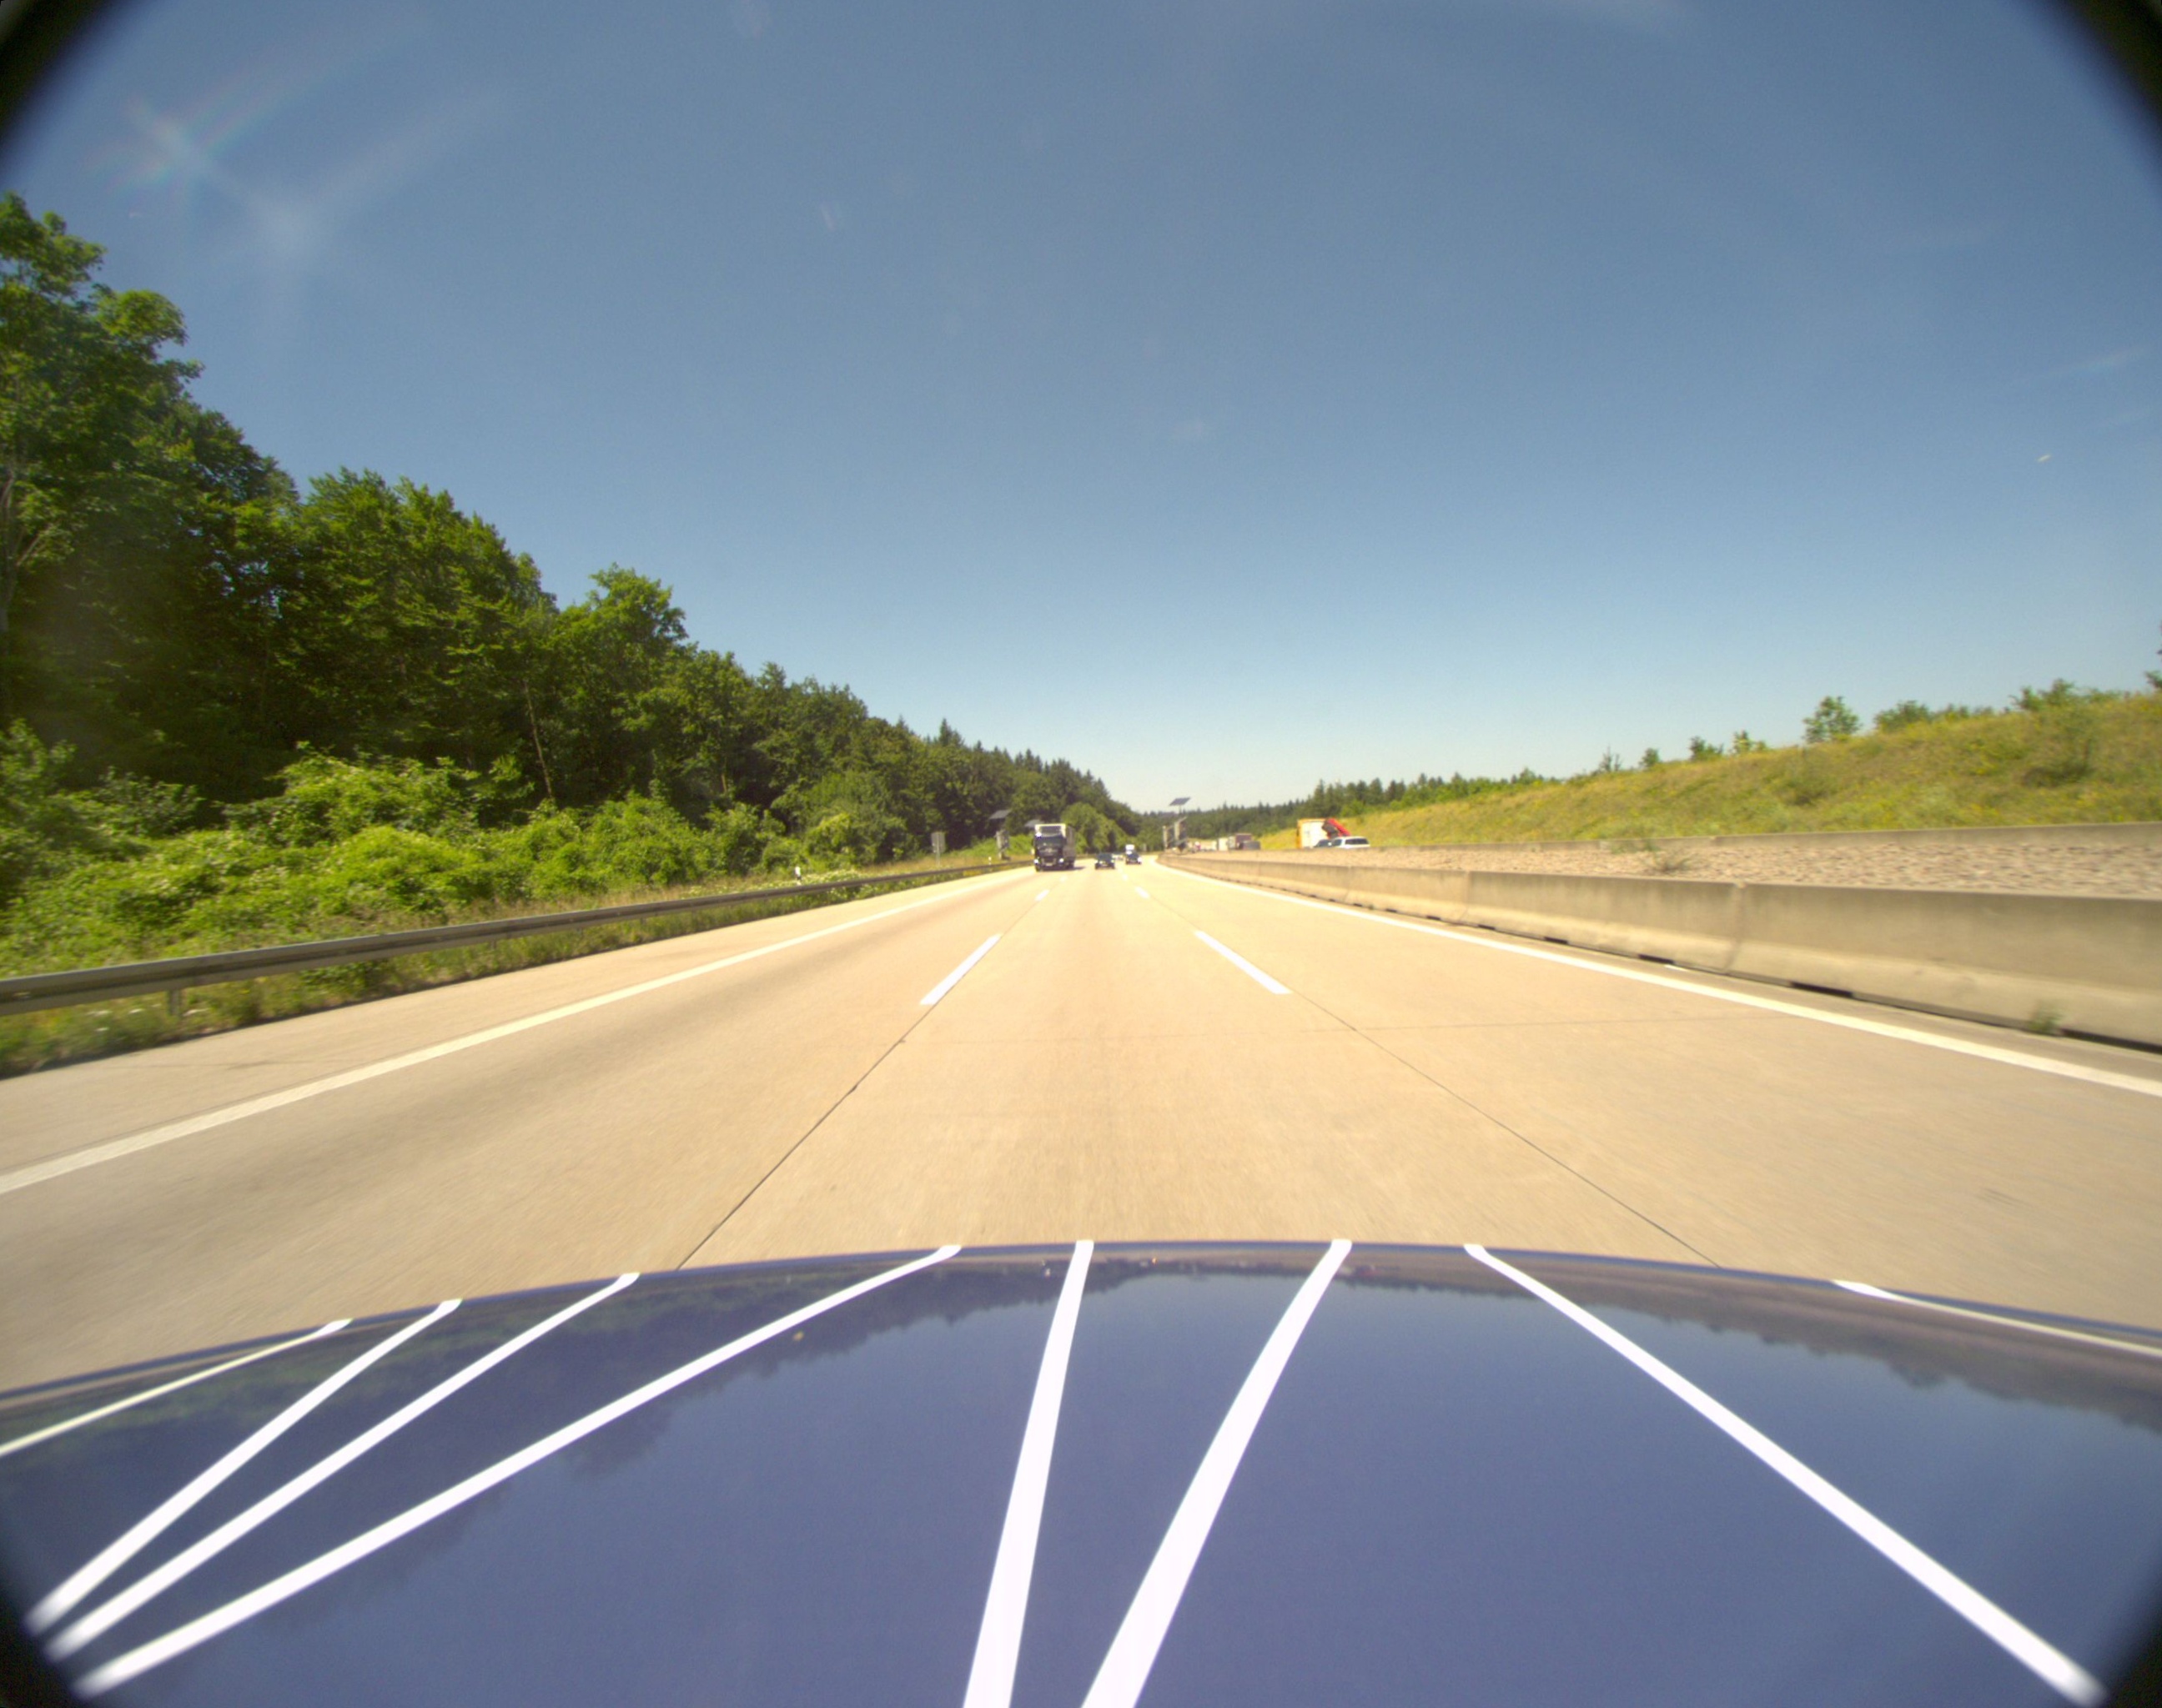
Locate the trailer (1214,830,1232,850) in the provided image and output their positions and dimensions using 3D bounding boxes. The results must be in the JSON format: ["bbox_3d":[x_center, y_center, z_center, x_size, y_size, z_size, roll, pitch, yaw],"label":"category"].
[{"bbox_3d":[32.612,-3.140,174.694,2.939,4.144,14.393,-3,1,7],"label":"trailer"}]

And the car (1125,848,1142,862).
[{"bbox_3d":[6.256,0.124,90.277,1.842,1.547,4.000,-4,1,3],"label":"car"}]

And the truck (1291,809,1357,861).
[{"bbox_3d":[22.924,-1.710,72.575,2.921,4.487,11.258,-1,0,2],"label":"truck"}]

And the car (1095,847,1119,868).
[{"bbox_3d":[2.400,0.309,69.324,1.930,1.694,4.400,-4,0,4],"label":"car"}]

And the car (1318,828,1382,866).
[{"bbox_3d":[15.187,-0.379,43.171,1.999,2.002,4.459,-1,1,0],"label":"car"}]

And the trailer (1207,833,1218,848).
[{"bbox_3d":[40.452,-4.113,233.385,2.939,4.144,14.396,-3,1,10],"label":"trailer"}]

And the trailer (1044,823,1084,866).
[{"bbox_3d":[-1.621,-0.957,78.090,3.142,3.993,9.089,-2,0,4],"label":"trailer"}]

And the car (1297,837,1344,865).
[{"bbox_3d":[18.118,-0.252,57.745,2.289,2.002,4.803,-1,1,3],"label":"car"}]

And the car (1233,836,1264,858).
[{"bbox_3d":[16.009,-0.658,72.801,1.999,2.002,4.459,-1,1,0],"label":"car"}]

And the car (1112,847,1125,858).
[{"bbox_3d":[6.491,-0.262,132.210,1.998,1.694,4.401,-4,0,5],"label":"car"}]

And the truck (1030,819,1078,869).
[{"bbox_3d":[-2.267,-0.867,68.241,3.167,3.993,10.609,-2,0,4],"label":"truck"}]

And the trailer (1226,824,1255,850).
[{"bbox_3d":[27.704,-2.834,132.819,2.940,4.144,13.191,-3,1,4],"label":"trailer"}]
